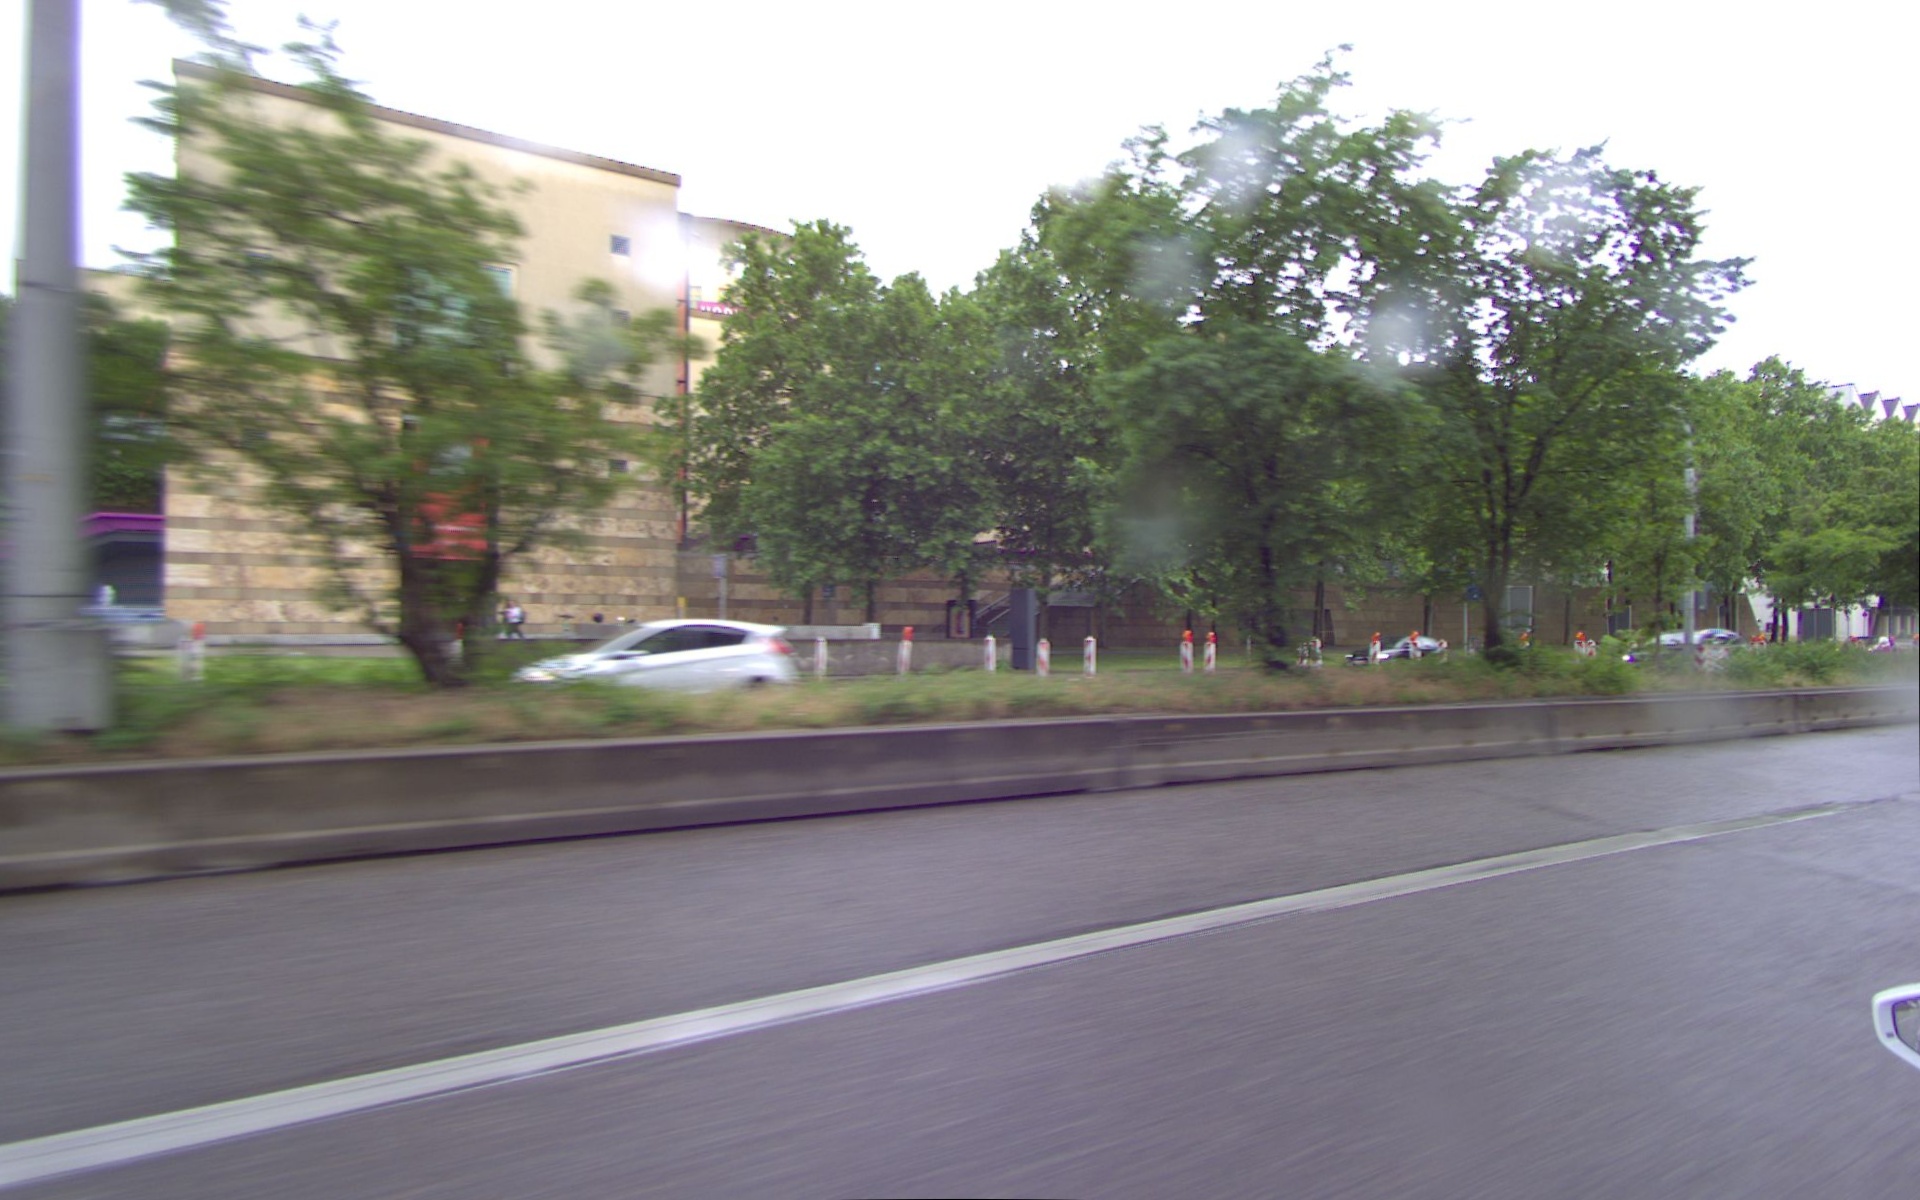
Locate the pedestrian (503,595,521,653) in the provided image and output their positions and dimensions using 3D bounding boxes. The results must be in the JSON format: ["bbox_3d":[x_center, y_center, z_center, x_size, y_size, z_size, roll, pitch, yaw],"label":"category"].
[{"bbox_3d":[-15.799,0.849,35.422,0.506,2.040,0.475,2,-3,-30],"label":"pedestrian"}]

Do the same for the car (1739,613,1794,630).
[{"bbox_3d":[81.381,2.140,101.416,1.977,1.617,3.967,1,-1,-30],"label":"car"}]

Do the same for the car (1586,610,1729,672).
[{"bbox_3d":[19.660,1.131,28.281,3.957,1.617,1.982,1,-1,-33],"label":"car"}]

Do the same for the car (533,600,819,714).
[{"bbox_3d":[-4.213,0.794,15.063,3.885,1.528,1.537,1,0,-30],"label":"car"}]

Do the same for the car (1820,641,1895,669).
[{"bbox_3d":[52.010,3.194,58.204,3.951,1.550,1.986,2,-3,-28],"label":"car"}]

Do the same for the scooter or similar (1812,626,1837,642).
[{"bbox_3d":[73.234,2.901,85.114,1.644,1.369,0.714,1,-2,-8],"label":"scooter or similar"}]
